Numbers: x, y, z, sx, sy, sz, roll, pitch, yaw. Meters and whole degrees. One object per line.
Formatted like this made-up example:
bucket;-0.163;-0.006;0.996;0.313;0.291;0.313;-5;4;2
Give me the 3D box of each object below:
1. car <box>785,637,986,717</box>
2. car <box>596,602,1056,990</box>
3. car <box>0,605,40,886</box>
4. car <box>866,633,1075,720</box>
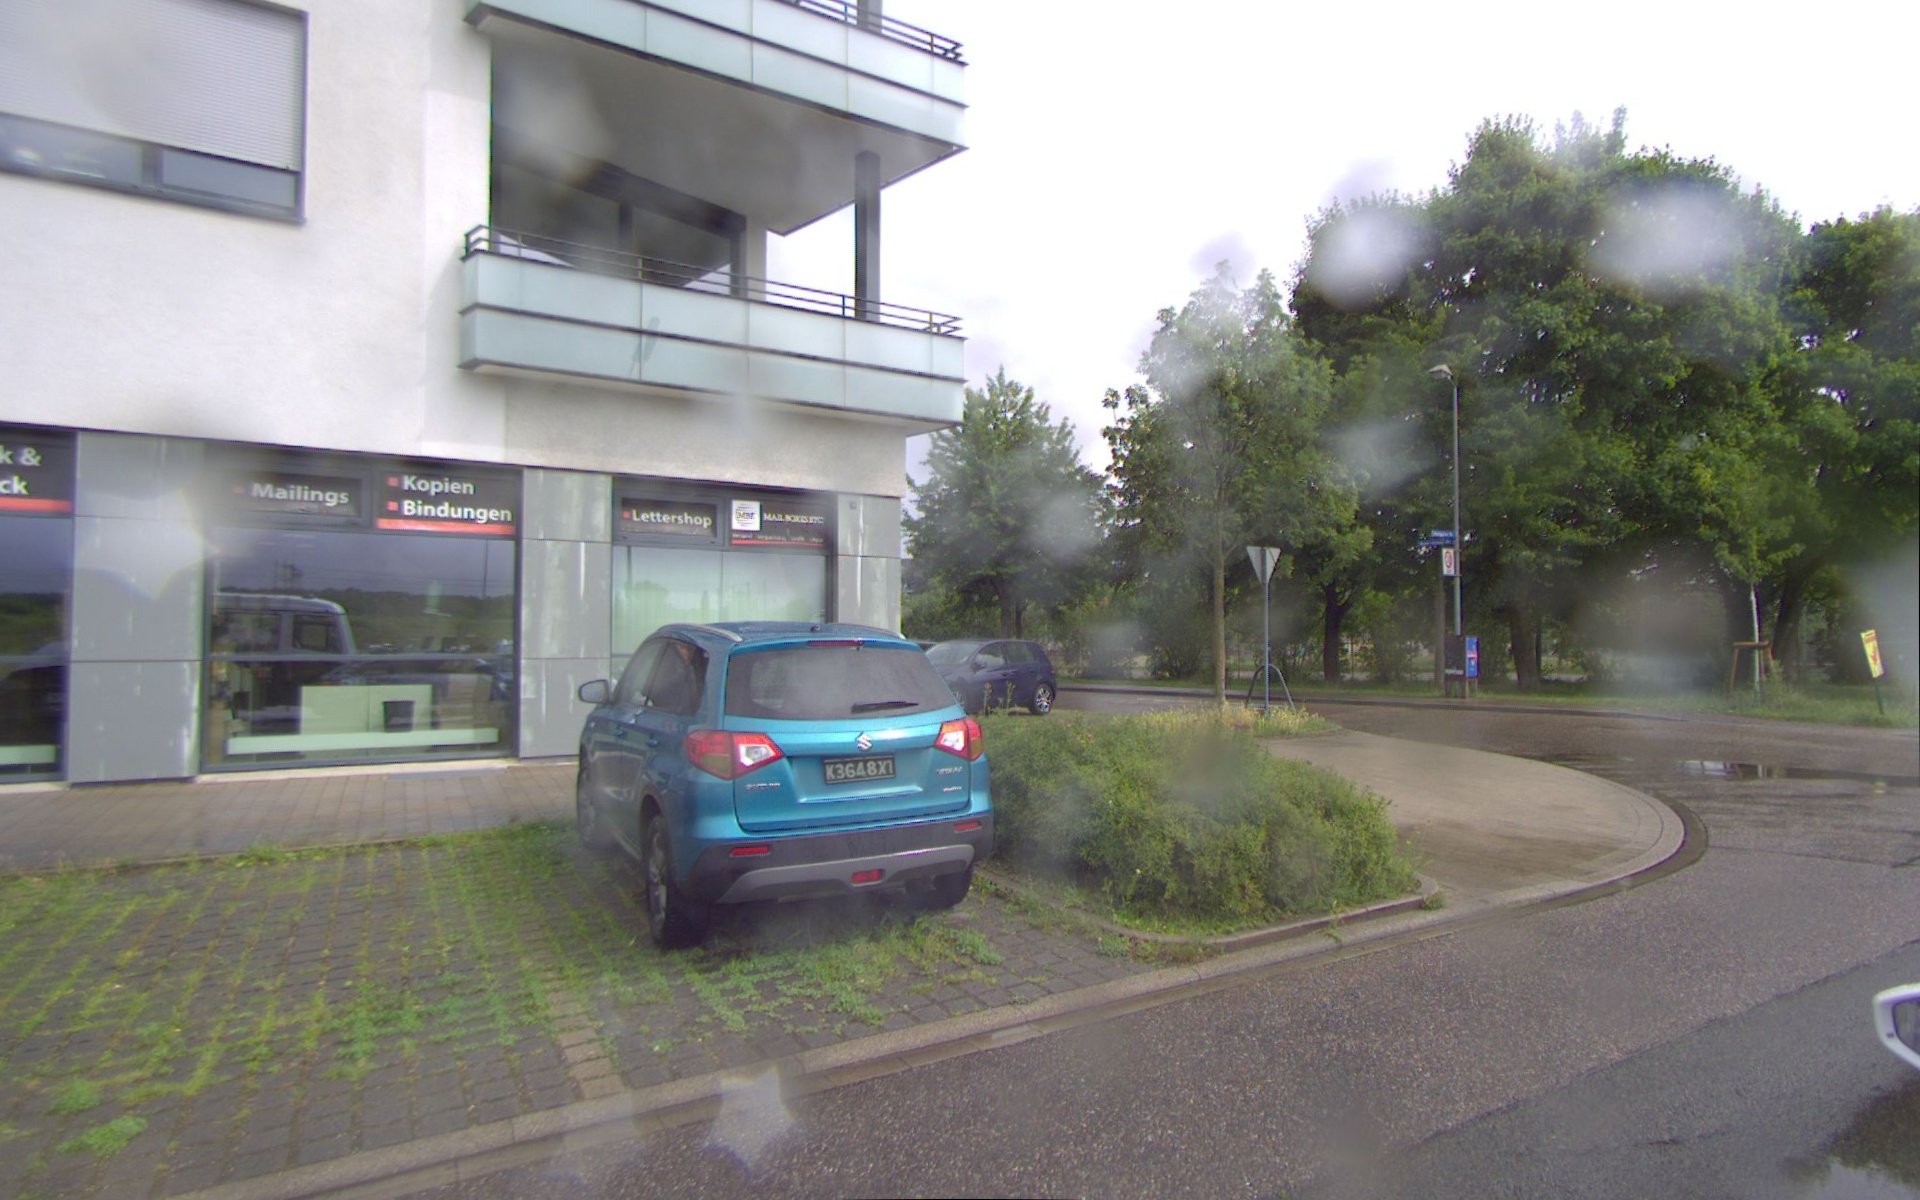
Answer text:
car;-1.426;1.537;20.652;1.664;1.415;4.108;0;-2;42
car;-1.157;0.882;6.481;1.733;1.655;3.795;2;0;-27
car;-5.441;0.809;3.928;1.838;1.570;4.151;2;0;-30
car;0.305;1.405;19.077;1.620;1.415;4.167;0;-2;42
